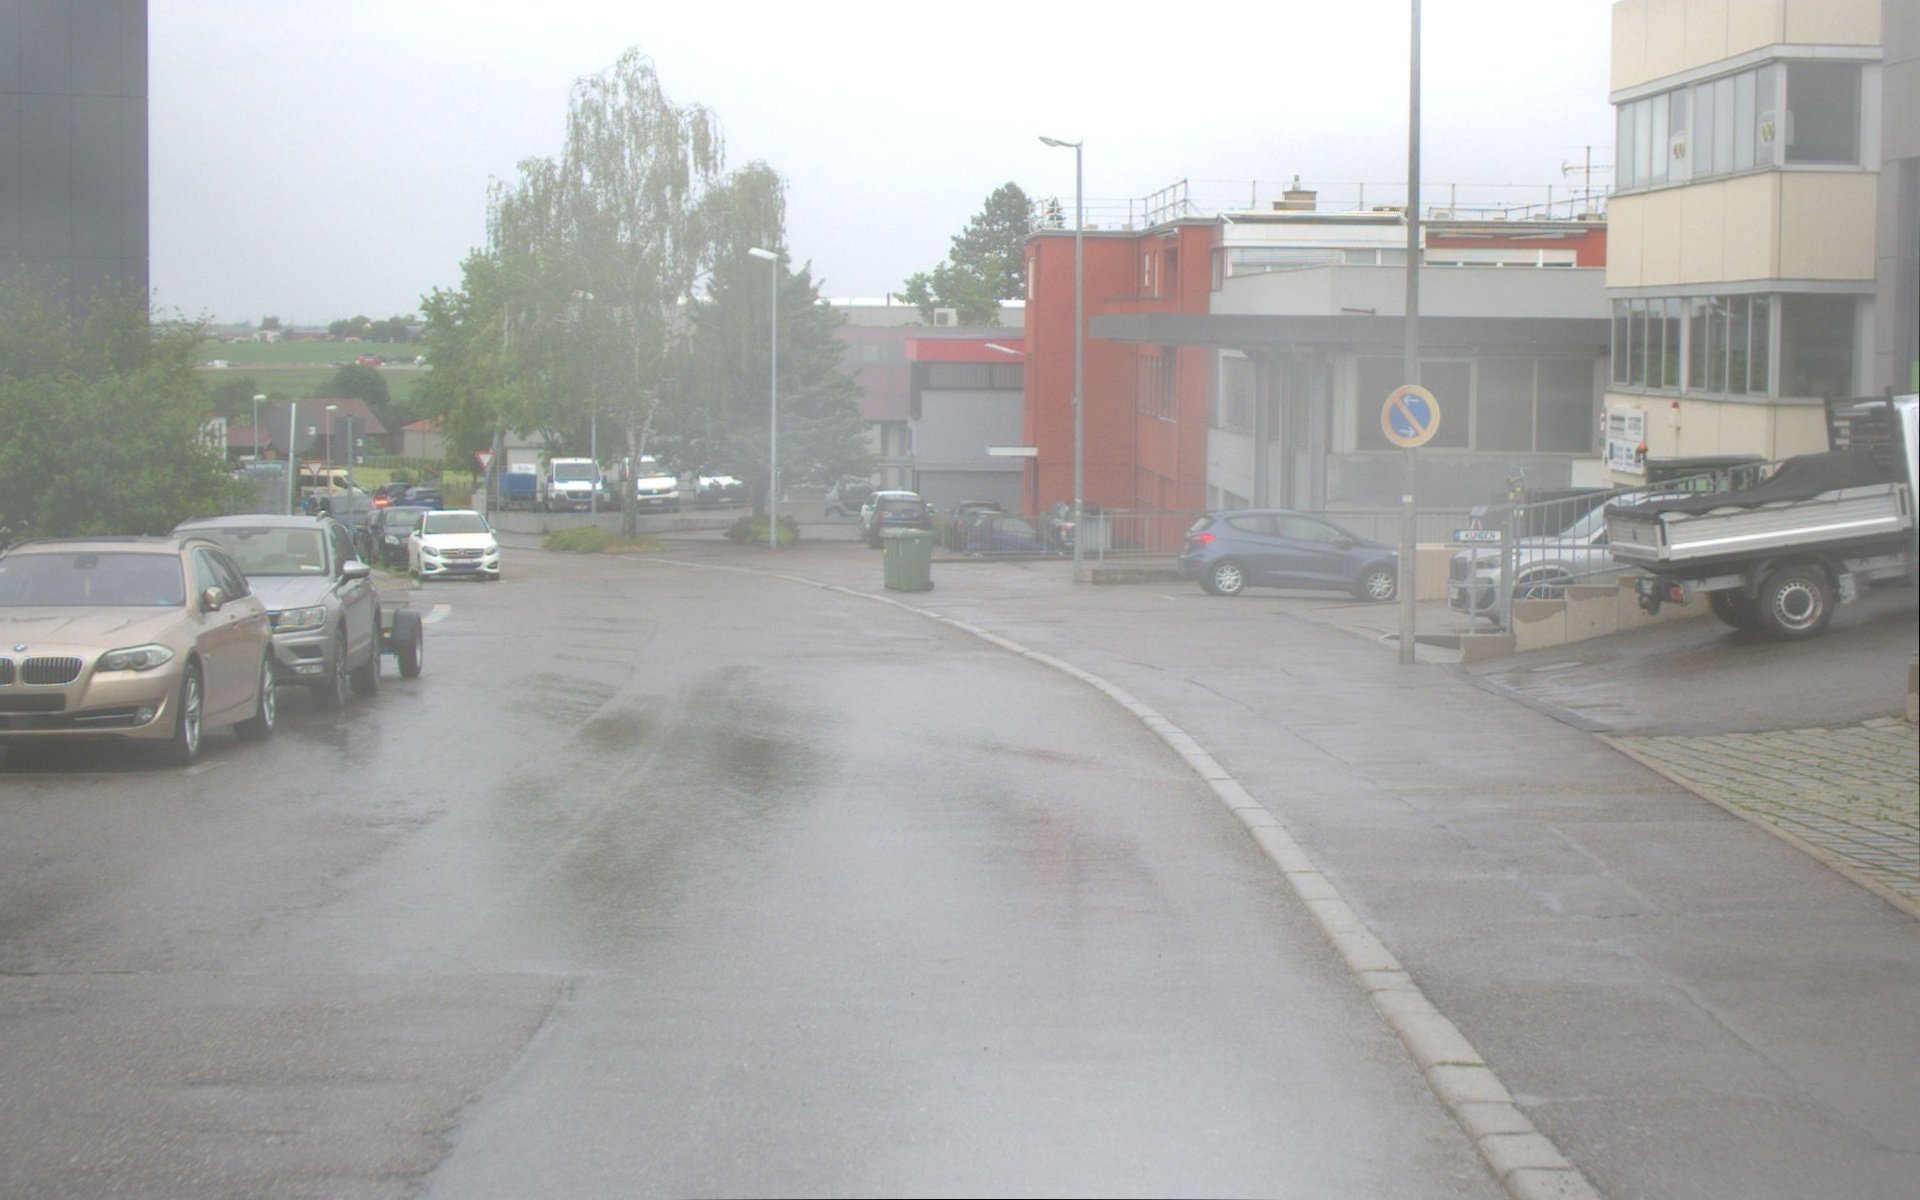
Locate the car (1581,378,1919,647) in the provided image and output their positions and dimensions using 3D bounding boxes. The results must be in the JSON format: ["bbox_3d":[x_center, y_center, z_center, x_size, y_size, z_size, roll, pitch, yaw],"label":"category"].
[{"bbox_3d":[8.532,-0.962,30.732,5.298,2.006,2.222,-8,1,-2],"label":"car"}]

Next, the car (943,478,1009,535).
[{"bbox_3d":[0.454,-2.766,101.920,1.739,1.647,4.001,0,1,-3],"label":"car"}]

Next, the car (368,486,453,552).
[{"bbox_3d":[-14.143,-2.102,88.326,1.700,1.603,4.002,-2,3,-15],"label":"car"}]

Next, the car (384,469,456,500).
[{"bbox_3d":[-28.291,-6.032,180.029,2.460,1.533,4.000,-1,1,-29],"label":"car"}]

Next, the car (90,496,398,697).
[{"bbox_3d":[-6.107,-0.075,29.859,1.957,1.571,4.841,-1,1,-4],"label":"car"}]

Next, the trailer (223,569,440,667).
[{"bbox_3d":[-6.199,0.153,34.246,1.680,0.885,3.898,0,1,-4],"label":"trailer"}]

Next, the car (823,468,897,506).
[{"bbox_3d":[-3.594,-4.063,123.242,2.547,1.347,1.242,0,2,-8],"label":"car"}]

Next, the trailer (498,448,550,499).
[{"bbox_3d":[-17.654,-5.109,139.028,1.852,2.006,4.001,0,2,-10],"label":"trailer"}]

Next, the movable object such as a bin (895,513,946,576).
[{"bbox_3d":[-0.703,-0.990,60.808,0.806,1.089,0.709,-1,2,-8],"label":"movable object such as a bin"}]

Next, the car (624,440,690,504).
[{"bbox_3d":[-11.984,-5.045,135.699,2.192,2.451,4.001,0,1,-11],"label":"car"}]

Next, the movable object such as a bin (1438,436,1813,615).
[{"bbox_3d":[8.067,-0.917,41.851,4.254,2.103,1.477,-1,2,-2],"label":"movable object such as a bin"}]

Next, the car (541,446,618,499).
[{"bbox_3d":[-14.969,-4.994,135.135,2.264,2.007,4.001,0,1,-18],"label":"car"}]

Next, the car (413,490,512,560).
[{"bbox_3d":[-11.272,-1.693,77.675,1.769,1.507,4.146,-1,1,-14],"label":"car"}]

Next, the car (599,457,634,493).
[{"bbox_3d":[-14.115,-5.120,141.209,1.290,1.419,2.547,0,1,-9],"label":"car"}]

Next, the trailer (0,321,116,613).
[{"bbox_3d":[-14.803,-1.953,51.333,4.182,4.188,2.002,1,2,36],"label":"trailer"}]

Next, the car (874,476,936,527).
[{"bbox_3d":[-1.640,-2.878,101.217,1.697,1.470,4.001,0,1,-3],"label":"car"}]

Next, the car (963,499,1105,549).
[{"bbox_3d":[1.780,-1.854,83.527,3.400,1.159,1.792,0,2,-1],"label":"car"}]

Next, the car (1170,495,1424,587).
[{"bbox_3d":[5.532,-0.979,56.751,3.894,1.379,1.821,2,1,-3],"label":"car"}]

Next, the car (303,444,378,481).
[{"bbox_3d":[-38.451,-8.521,213.543,4.241,2.218,2.000,0,1,4],"label":"car"}]

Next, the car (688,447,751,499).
[{"bbox_3d":[-9.587,-5.031,136.779,2.145,2.007,3.940,0,1,-9],"label":"car"}]

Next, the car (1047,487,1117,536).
[{"bbox_3d":[3.561,-2.580,101.098,1.729,1.417,4.001,0,1,-3],"label":"car"}]

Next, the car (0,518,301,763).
[{"bbox_3d":[-5.877,0.187,23.488,1.956,1.456,5.248,0,2,-3],"label":"car"}]

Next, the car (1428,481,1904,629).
[{"bbox_3d":[8.144,-0.550,39.932,5.090,1.608,1.925,-1,2,-3],"label":"car"}]
